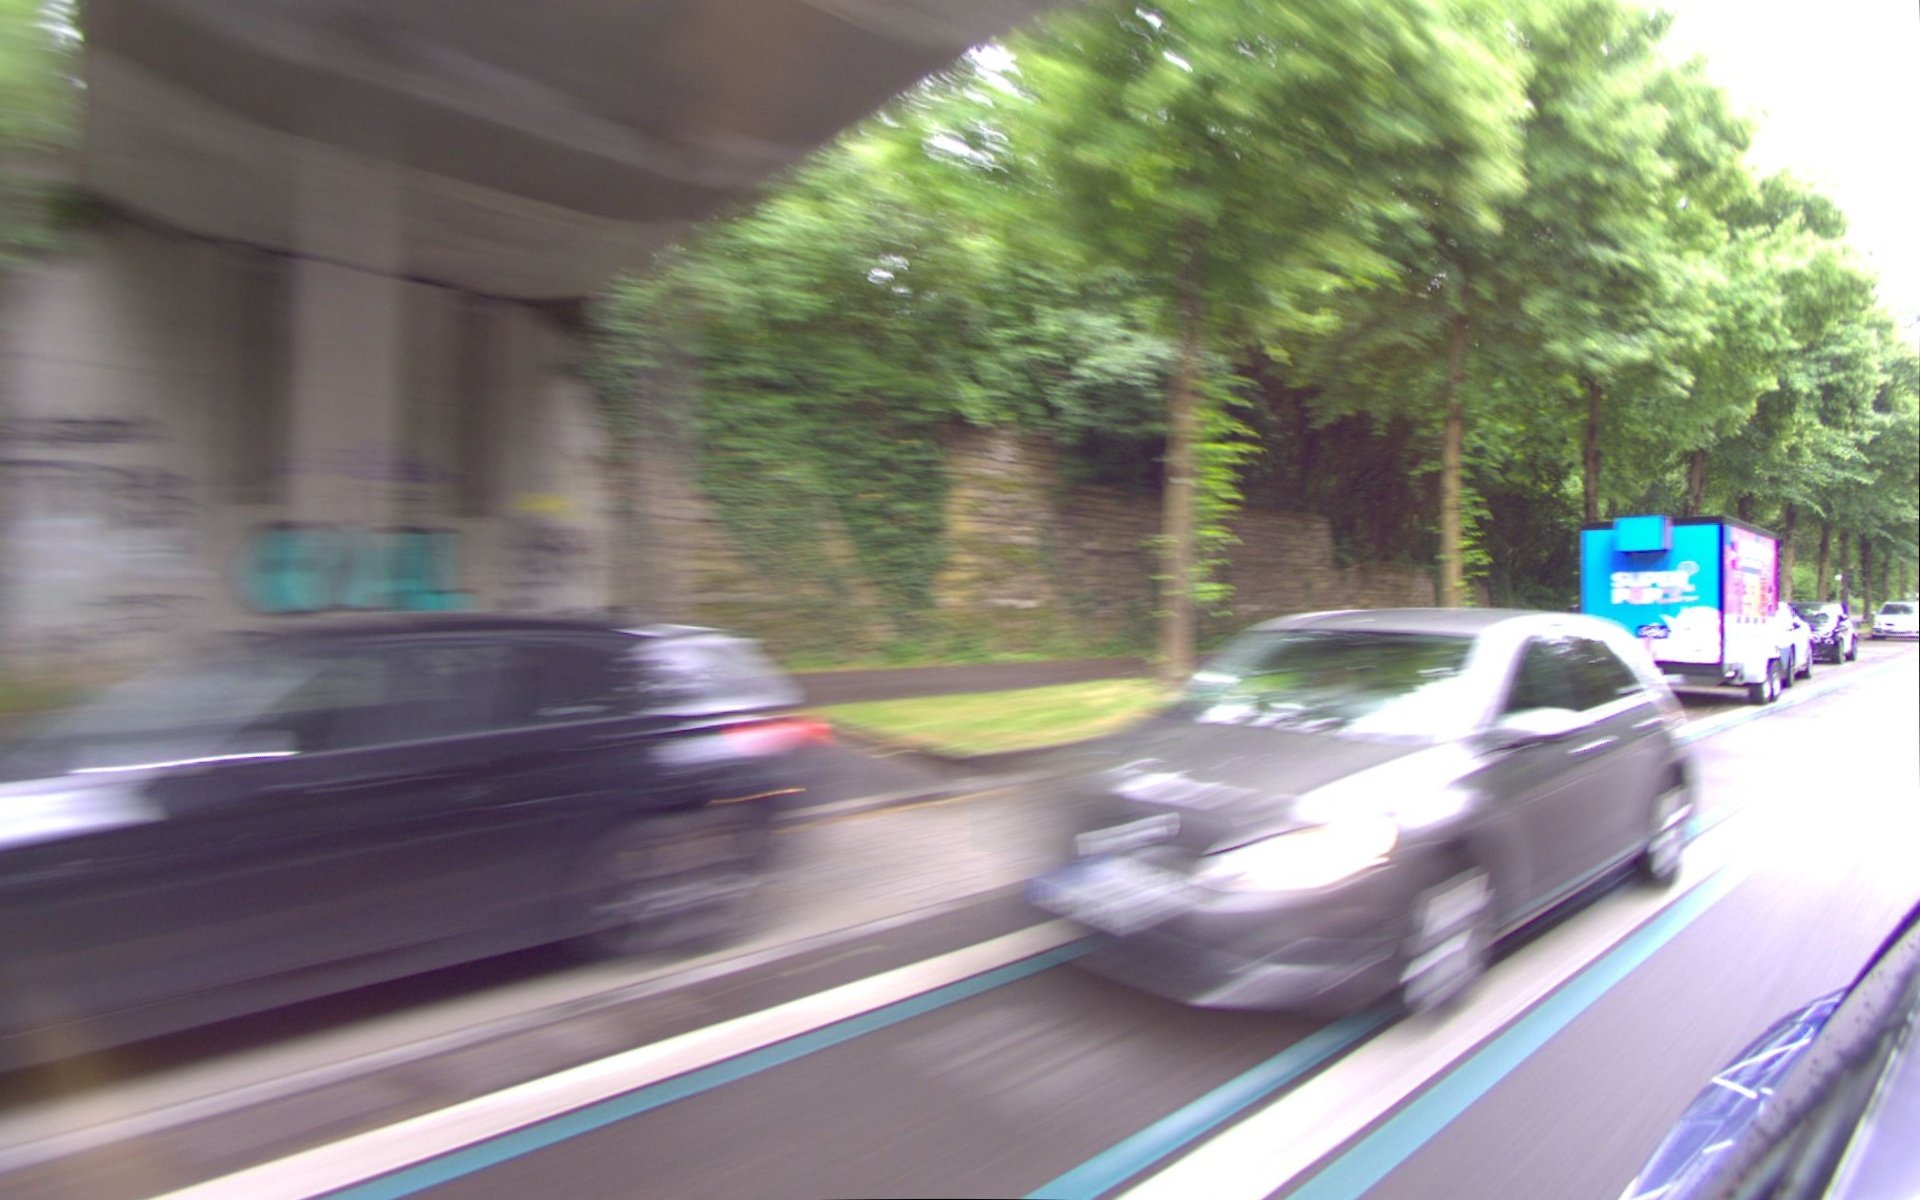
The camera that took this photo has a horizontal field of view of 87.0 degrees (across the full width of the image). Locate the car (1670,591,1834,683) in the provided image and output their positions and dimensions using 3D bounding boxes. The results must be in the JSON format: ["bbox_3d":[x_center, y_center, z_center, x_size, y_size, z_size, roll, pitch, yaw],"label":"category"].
[{"bbox_3d":[15.410,0.619,19.594,4.677,1.567,1.901,0,1,-44],"label":"car"}]

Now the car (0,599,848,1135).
[{"bbox_3d":[-2.600,0.726,3.906,4.125,1.434,1.688,0,1,-42],"label":"car"}]

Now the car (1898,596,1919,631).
[{"bbox_3d":[43.246,0.590,45.021,4.390,1.533,1.701,0,0,-40],"label":"car"}]

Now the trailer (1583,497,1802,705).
[{"bbox_3d":[11.386,-0.006,15.638,3.938,2.793,1.955,0,0,-42],"label":"trailer"}]

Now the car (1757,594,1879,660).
[{"bbox_3d":[22.220,0.628,26.141,4.492,1.522,1.828,0,1,-42],"label":"car"}]

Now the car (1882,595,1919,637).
[{"bbox_3d":[38.828,0.616,40.984,4.659,1.617,1.755,0,0,-42],"label":"car"}]

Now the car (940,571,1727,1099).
[{"bbox_3d":[2.055,0.661,4.936,4.065,1.527,1.822,0,1,-40],"label":"car"}]

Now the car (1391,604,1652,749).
[{"bbox_3d":[6.528,0.744,11.596,3.799,1.370,1.585,0,0,-44],"label":"car"}]
